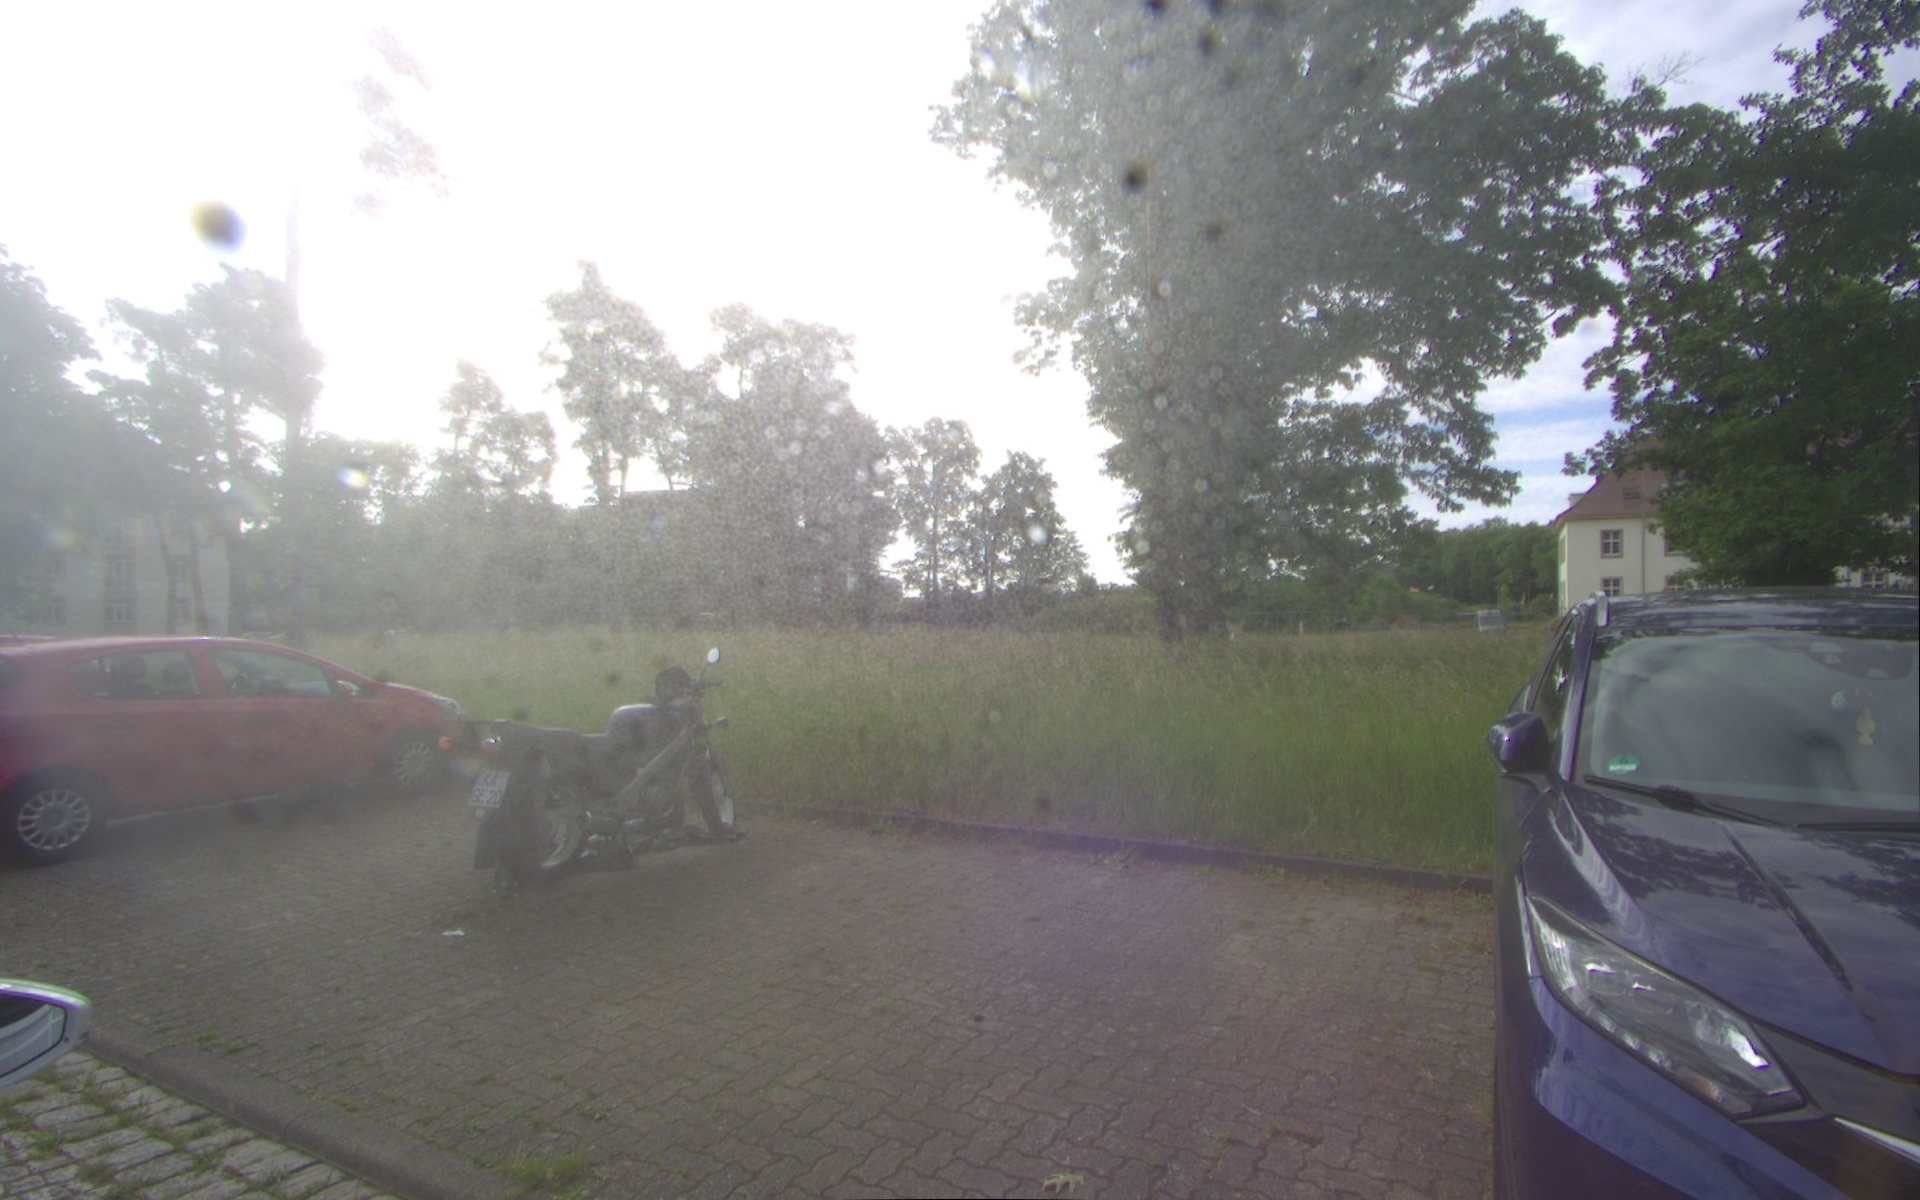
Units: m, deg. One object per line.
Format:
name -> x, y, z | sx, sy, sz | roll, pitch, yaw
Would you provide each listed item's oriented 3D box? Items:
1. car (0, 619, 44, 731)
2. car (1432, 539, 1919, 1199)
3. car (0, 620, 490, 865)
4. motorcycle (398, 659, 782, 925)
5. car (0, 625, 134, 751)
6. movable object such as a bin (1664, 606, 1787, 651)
car -> -14.929, 1.084, 13.068 | 1.723, 1.573, 4.026 | -1, 0, 27
car -> 2.570, 0.737, 3.050 | 1.766, 1.591, 4.158 | -2, -2, 29
car -> -6.115, 0.955, 8.166 | 1.752, 1.479, 3.821 | -1, 0, 28
motorcycle -> -2.125, 1.027, 6.201 | 0.783, 1.201, 2.326 | -1, 0, 26
car -> -12.561, 1.099, 11.953 | 1.725, 1.479, 3.787 | -1, 0, 29
movable object such as a bin -> 47.548, 1.785, 62.415 | 5.896, 2.689, 2.163 | -1, -2, 34
